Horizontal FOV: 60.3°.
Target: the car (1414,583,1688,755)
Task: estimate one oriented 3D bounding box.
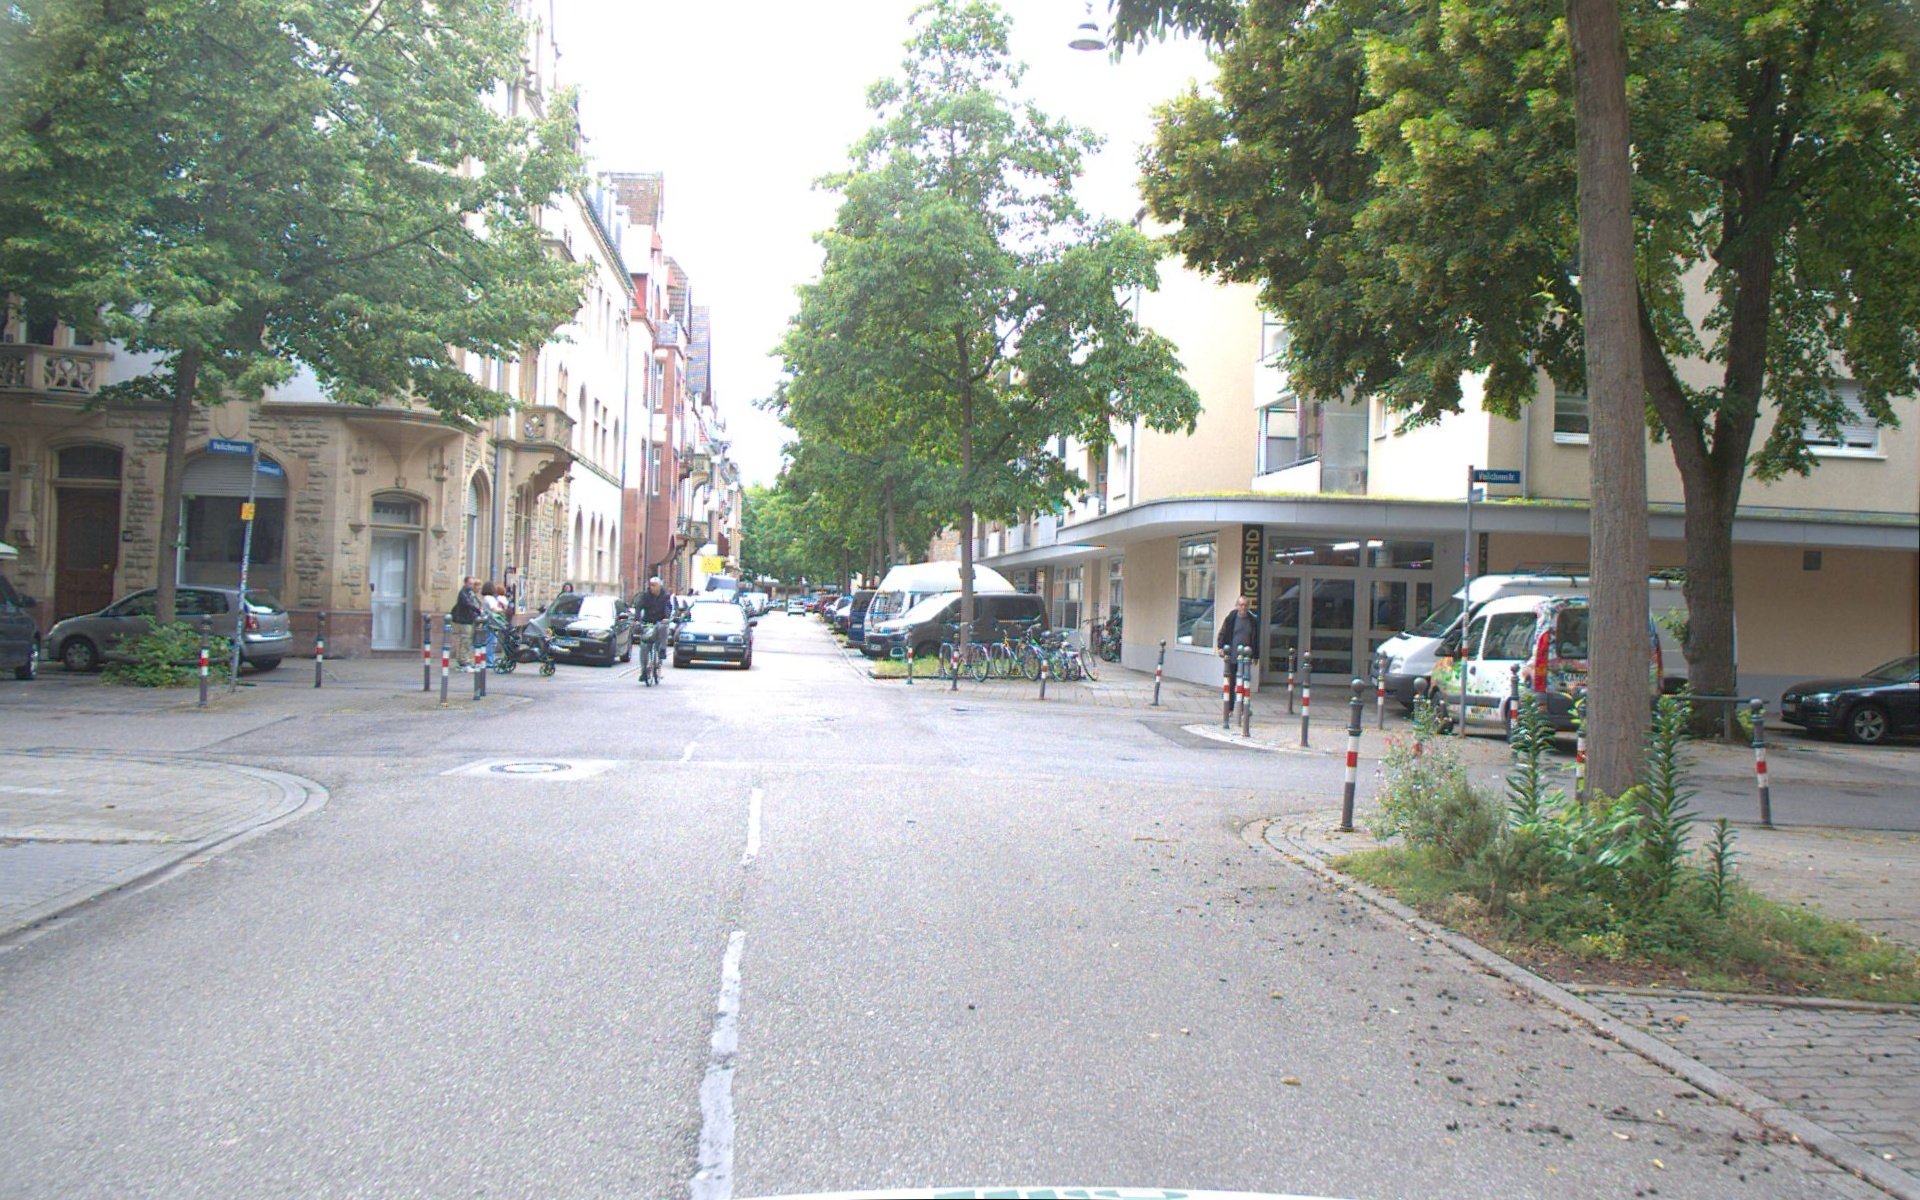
[{"bbox_3d":[7.115,0.770,20.356,1.735,1.851,3.997,2,0,-3],"label":"car"}]

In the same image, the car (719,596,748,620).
[{"bbox_3d":[-15.237,0.520,111.351,1.755,1.506,4.017,3,0,-6],"label":"car"}]

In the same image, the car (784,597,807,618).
[{"bbox_3d":[-15.603,0.758,157.156,1.955,1.825,3.995,3,-1,-5],"label":"car"}]

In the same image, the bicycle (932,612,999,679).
[{"bbox_3d":[0.093,0.859,31.612,0.542,1.194,1.713,2,0,-27],"label":"bicycle"}]

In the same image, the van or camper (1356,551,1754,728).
[{"bbox_3d":[9.566,0.586,27.002,5.651,2.537,2.138,2,3,3],"label":"van or camper"}]

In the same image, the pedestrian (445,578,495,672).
[{"bbox_3d":[-8.907,0.449,30.080,0.603,1.672,0.604,2,0,6],"label":"pedestrian"}]

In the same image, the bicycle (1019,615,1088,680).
[{"bbox_3d":[1.833,0.924,32.528,0.542,1.194,1.713,2,0,-27],"label":"bicycle"}]

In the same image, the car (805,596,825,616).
[{"bbox_3d":[-15.690,0.636,178.709,1.956,2.048,3.995,5,-1,-6],"label":"car"}]

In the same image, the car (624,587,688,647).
[{"bbox_3d":[-9.105,0.487,49.715,1.615,1.598,2.953,3,1,-7],"label":"car"}]

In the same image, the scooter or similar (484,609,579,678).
[{"bbox_3d":[-7.695,0.774,29.756,1.438,1.123,0.676,4,0,6],"label":"scooter or similar"}]

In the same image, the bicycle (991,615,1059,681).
[{"bbox_3d":[1.250,0.923,32.190,0.542,1.194,1.713,2,0,-27],"label":"bicycle"}]

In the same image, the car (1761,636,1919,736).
[{"bbox_3d":[15.267,1.382,26.370,4.079,1.453,1.908,2,0,6],"label":"car"}]

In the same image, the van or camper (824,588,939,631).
[{"bbox_3d":[-3.594,0.442,75.860,4.960,1.902,2.102,0,0,-34],"label":"van or camper"}]

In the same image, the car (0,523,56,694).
[{"bbox_3d":[-12.689,0.059,20.734,1.801,2.002,3.937,2,0,-21],"label":"car"}]

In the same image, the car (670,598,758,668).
[{"bbox_3d":[-5.399,0.730,36.687,1.675,1.438,3.848,1,-1,-5],"label":"car"}]

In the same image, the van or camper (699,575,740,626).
[{"bbox_3d":[-13.827,-0.013,95.341,1.969,2.697,5.311,2,2,-5],"label":"van or camper"}]

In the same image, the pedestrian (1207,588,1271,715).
[{"bbox_3d":[4.111,0.756,24.393,0.763,1.828,0.509,2,0,-4],"label":"pedestrian"}]

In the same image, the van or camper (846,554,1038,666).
[{"bbox_3d":[-0.401,0.282,41.130,4.550,2.641,1.885,2,0,-39],"label":"van or camper"}]

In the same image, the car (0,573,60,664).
[{"bbox_3d":[-17.427,0.226,27.974,3.418,1.486,1.650,3,-2,3],"label":"car"}]

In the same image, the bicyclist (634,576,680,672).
[{"bbox_3d":[-5.020,0.389,27.398,0.635,1.565,0.676,1,0,-4],"label":"bicyclist"}]

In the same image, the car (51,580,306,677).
[{"bbox_3d":[-13.060,0.453,27.766,3.494,1.485,1.650,1,2,3],"label":"car"}]

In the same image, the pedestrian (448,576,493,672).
[{"bbox_3d":[-8.733,0.432,29.493,0.516,1.672,0.529,3,0,6],"label":"pedestrian"}]

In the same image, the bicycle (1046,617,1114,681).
[{"bbox_3d":[2.369,0.964,32.904,0.542,1.194,1.683,2,0,-27],"label":"bicycle"}]

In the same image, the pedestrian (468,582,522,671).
[{"bbox_3d":[-8.685,0.498,30.891,0.619,1.621,0.667,2,0,35],"label":"pedestrian"}]

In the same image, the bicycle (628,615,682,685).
[{"bbox_3d":[-5.030,0.809,27.360,0.621,1.113,1.798,2,-1,-4],"label":"bicycle"}]

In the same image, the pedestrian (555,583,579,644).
[{"bbox_3d":[-10.094,0.353,42.489,0.505,1.545,0.546,2,0,-6],"label":"pedestrian"}]

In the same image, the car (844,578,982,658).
[{"bbox_3d":[-1.360,0.554,49.775,2.024,2.235,4.387,2,0,32],"label":"car"}]

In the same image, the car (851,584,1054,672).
[{"bbox_3d":[-0.152,0.660,38.110,4.288,1.886,1.891,2,0,-31],"label":"car"}]

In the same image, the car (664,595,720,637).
[{"bbox_3d":[-9.834,0.564,60.958,1.693,1.410,4.132,3,0,-6],"label":"car"}]

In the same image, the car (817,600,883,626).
[{"bbox_3d":[-7.230,0.872,108.839,3.980,1.587,1.860,2,-1,-37],"label":"car"}]

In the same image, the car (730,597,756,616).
[{"bbox_3d":[-17.596,0.509,134.297,1.955,1.501,3.995,2,0,-6],"label":"car"}]

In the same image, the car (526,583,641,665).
[{"bbox_3d":[-7.857,0.517,34.827,1.676,1.521,3.996,3,-1,-4],"label":"car"}]

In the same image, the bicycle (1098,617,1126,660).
[{"bbox_3d":[4.129,1.045,45.068,0.475,1.109,1.699,2,0,-3],"label":"bicycle"}]
